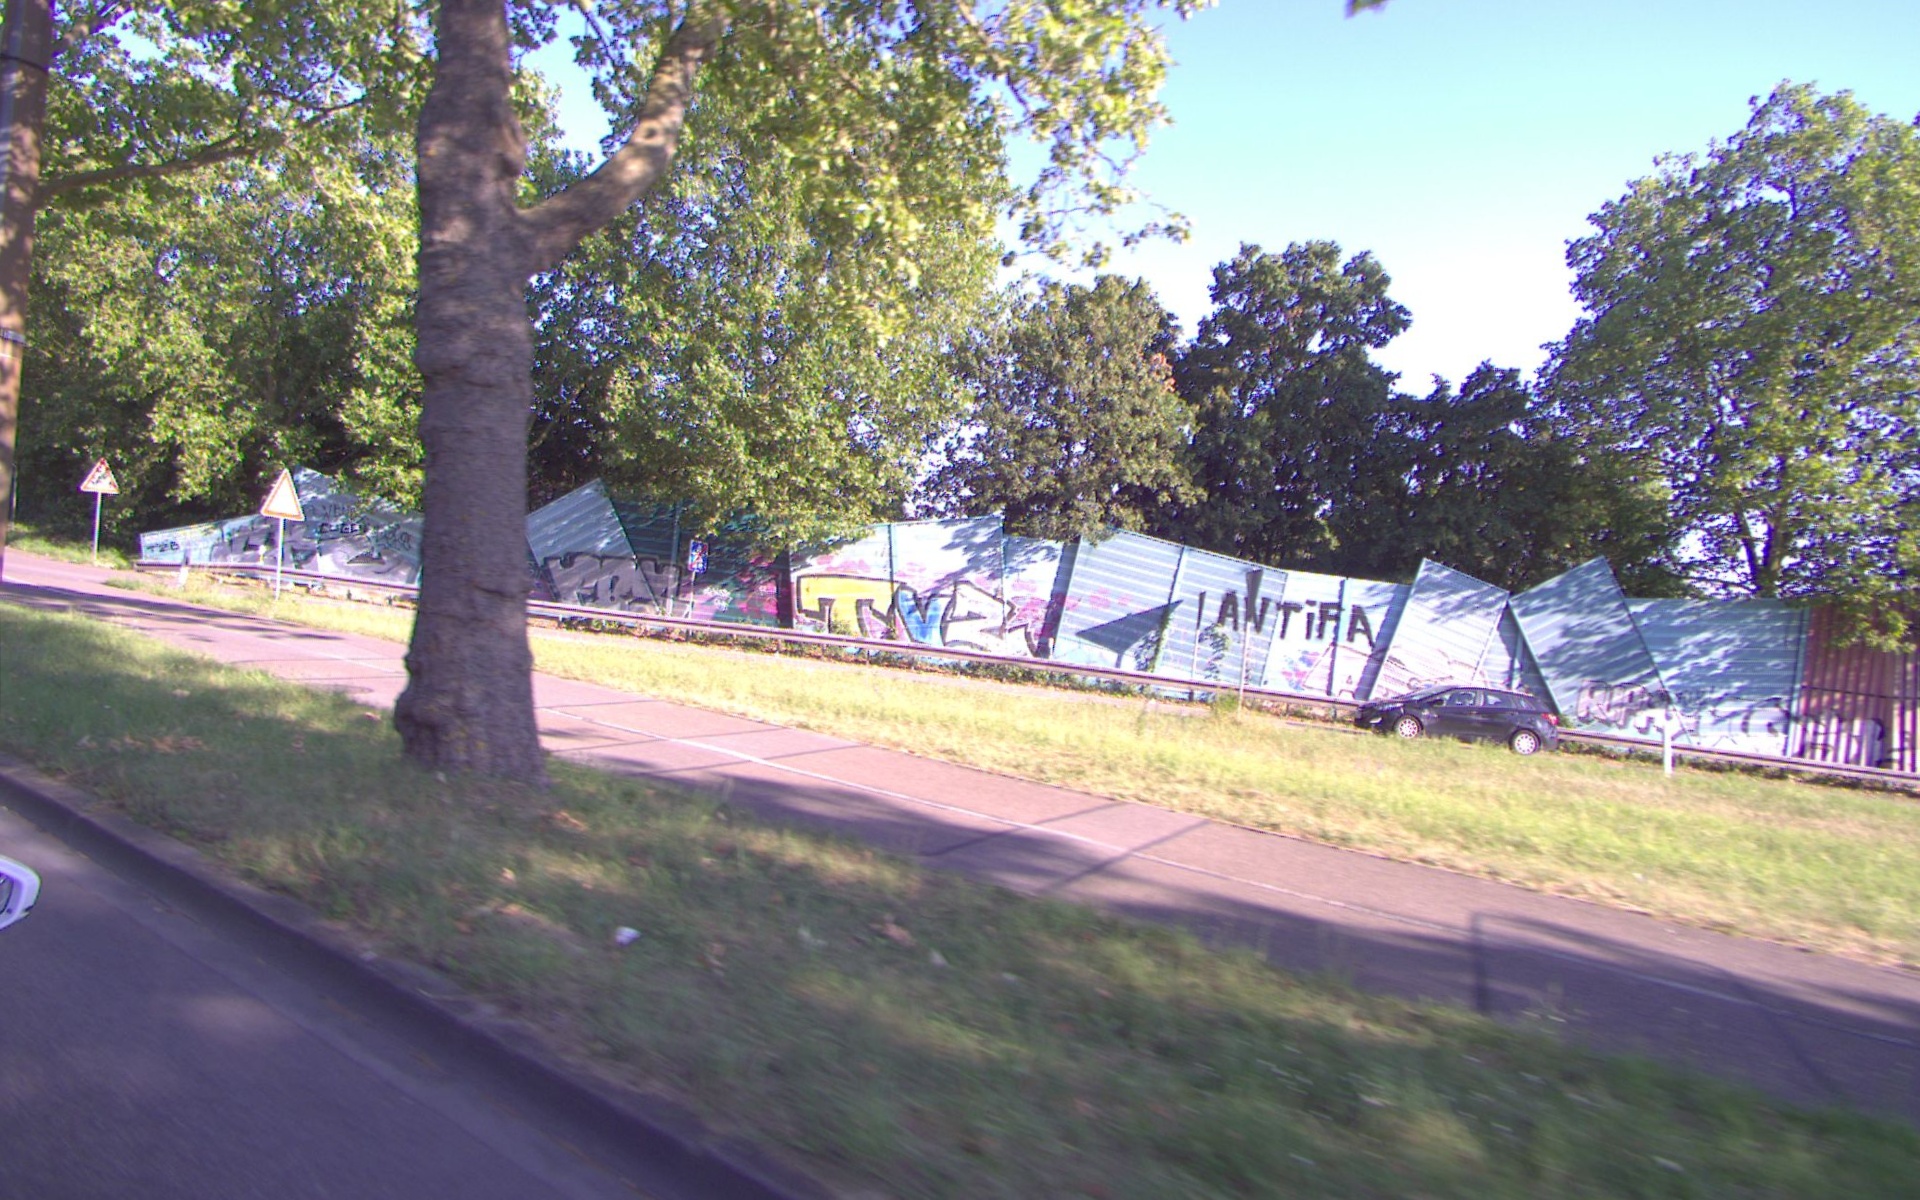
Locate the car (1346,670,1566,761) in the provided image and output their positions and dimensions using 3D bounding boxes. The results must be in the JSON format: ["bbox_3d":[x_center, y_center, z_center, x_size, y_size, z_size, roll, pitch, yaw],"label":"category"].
[{"bbox_3d":[11.508,2.660,23.592,4.143,1.457,1.800,7,-1,6],"label":"car"}]
